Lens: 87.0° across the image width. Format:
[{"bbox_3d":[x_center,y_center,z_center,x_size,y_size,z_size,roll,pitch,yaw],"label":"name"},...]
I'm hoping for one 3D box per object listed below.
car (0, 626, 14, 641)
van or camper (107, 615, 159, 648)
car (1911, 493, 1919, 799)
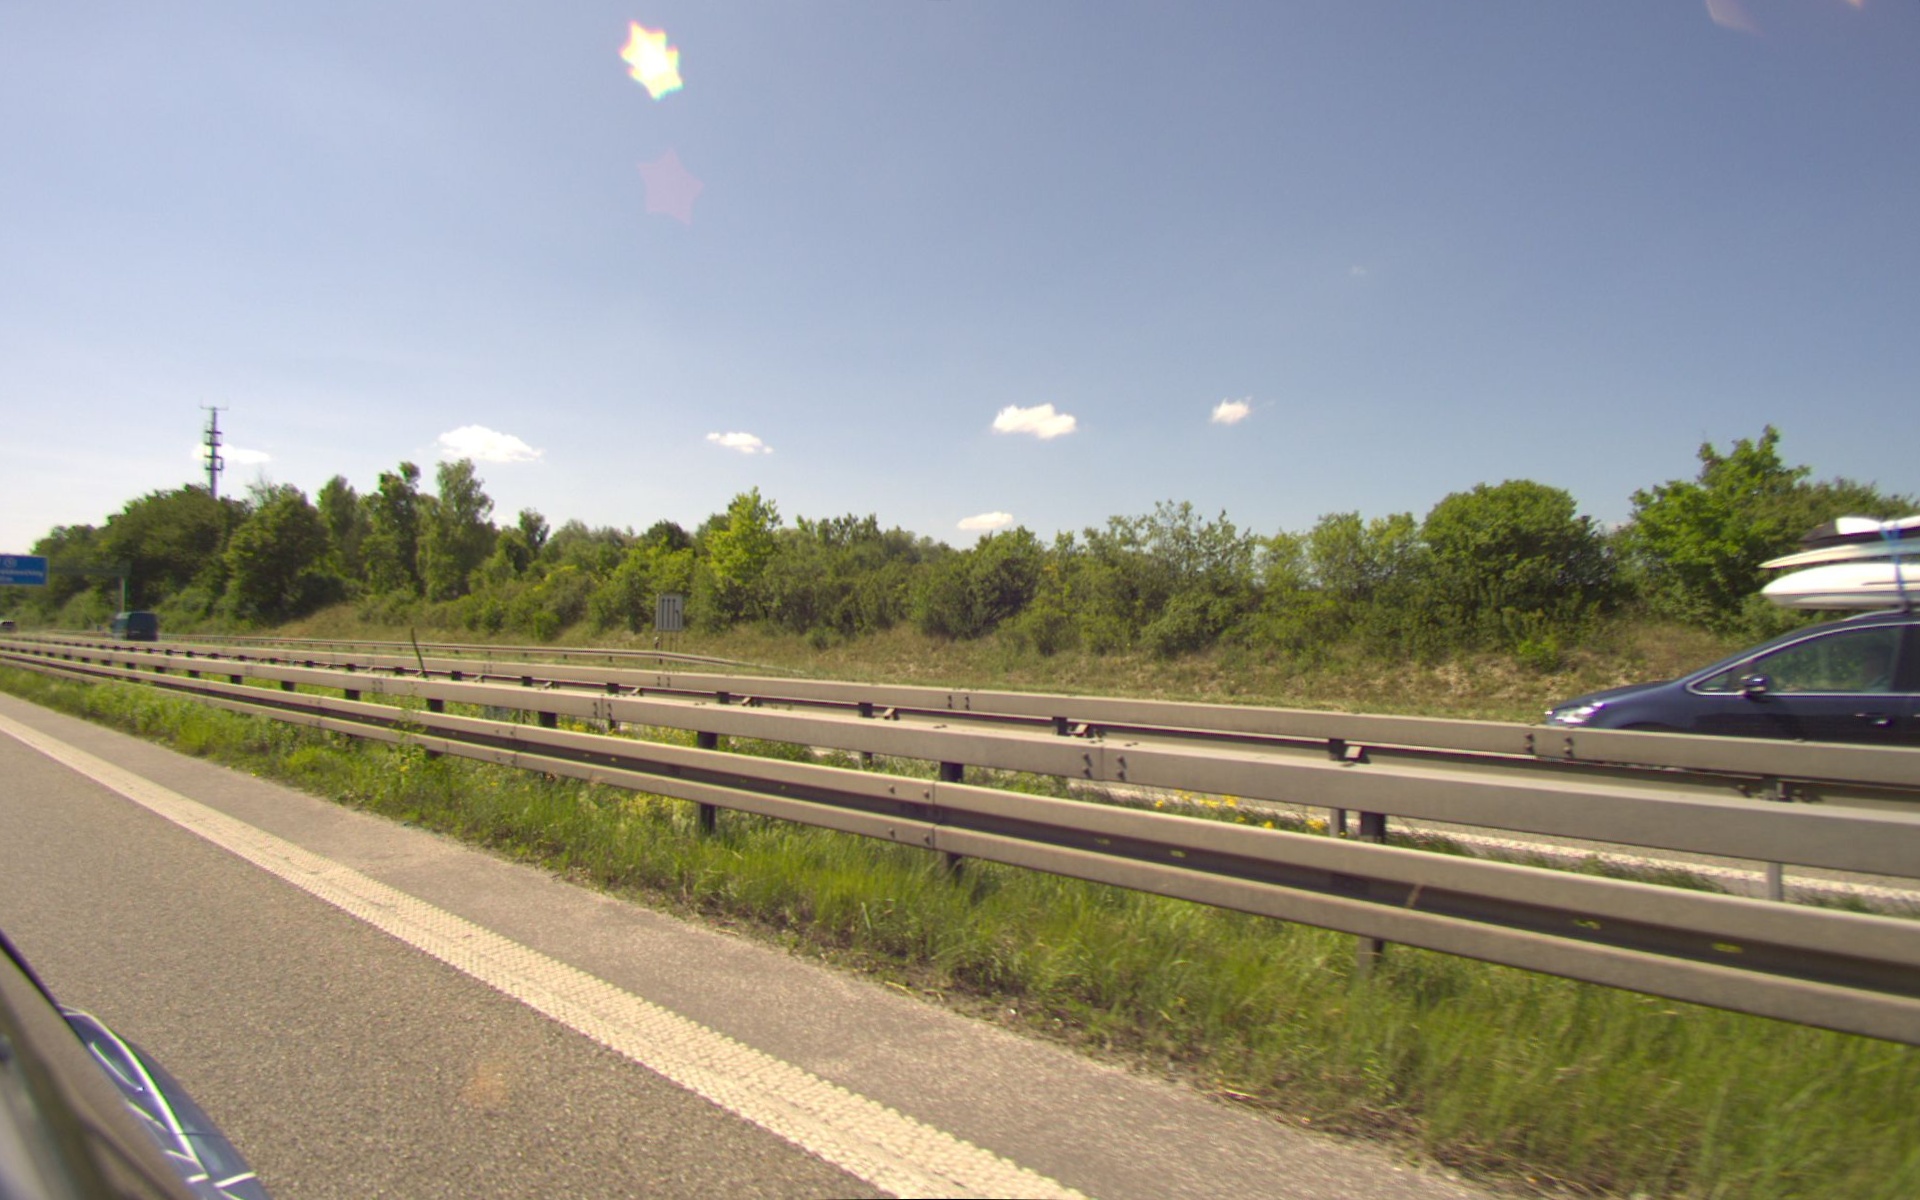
[{"bbox_3d":[-121.777,4.273,128.228,5.328,1.849,1.974,-1,-4,39],"label":"car"},{"bbox_3d":[-62.787,2.411,76.775,6.237,2.410,1.973,-2,-3,41],"label":"van or camper"},{"bbox_3d":[9.718,0.351,5.639,6.250,2.478,1.974,-1,-1,40],"label":"car"}]
